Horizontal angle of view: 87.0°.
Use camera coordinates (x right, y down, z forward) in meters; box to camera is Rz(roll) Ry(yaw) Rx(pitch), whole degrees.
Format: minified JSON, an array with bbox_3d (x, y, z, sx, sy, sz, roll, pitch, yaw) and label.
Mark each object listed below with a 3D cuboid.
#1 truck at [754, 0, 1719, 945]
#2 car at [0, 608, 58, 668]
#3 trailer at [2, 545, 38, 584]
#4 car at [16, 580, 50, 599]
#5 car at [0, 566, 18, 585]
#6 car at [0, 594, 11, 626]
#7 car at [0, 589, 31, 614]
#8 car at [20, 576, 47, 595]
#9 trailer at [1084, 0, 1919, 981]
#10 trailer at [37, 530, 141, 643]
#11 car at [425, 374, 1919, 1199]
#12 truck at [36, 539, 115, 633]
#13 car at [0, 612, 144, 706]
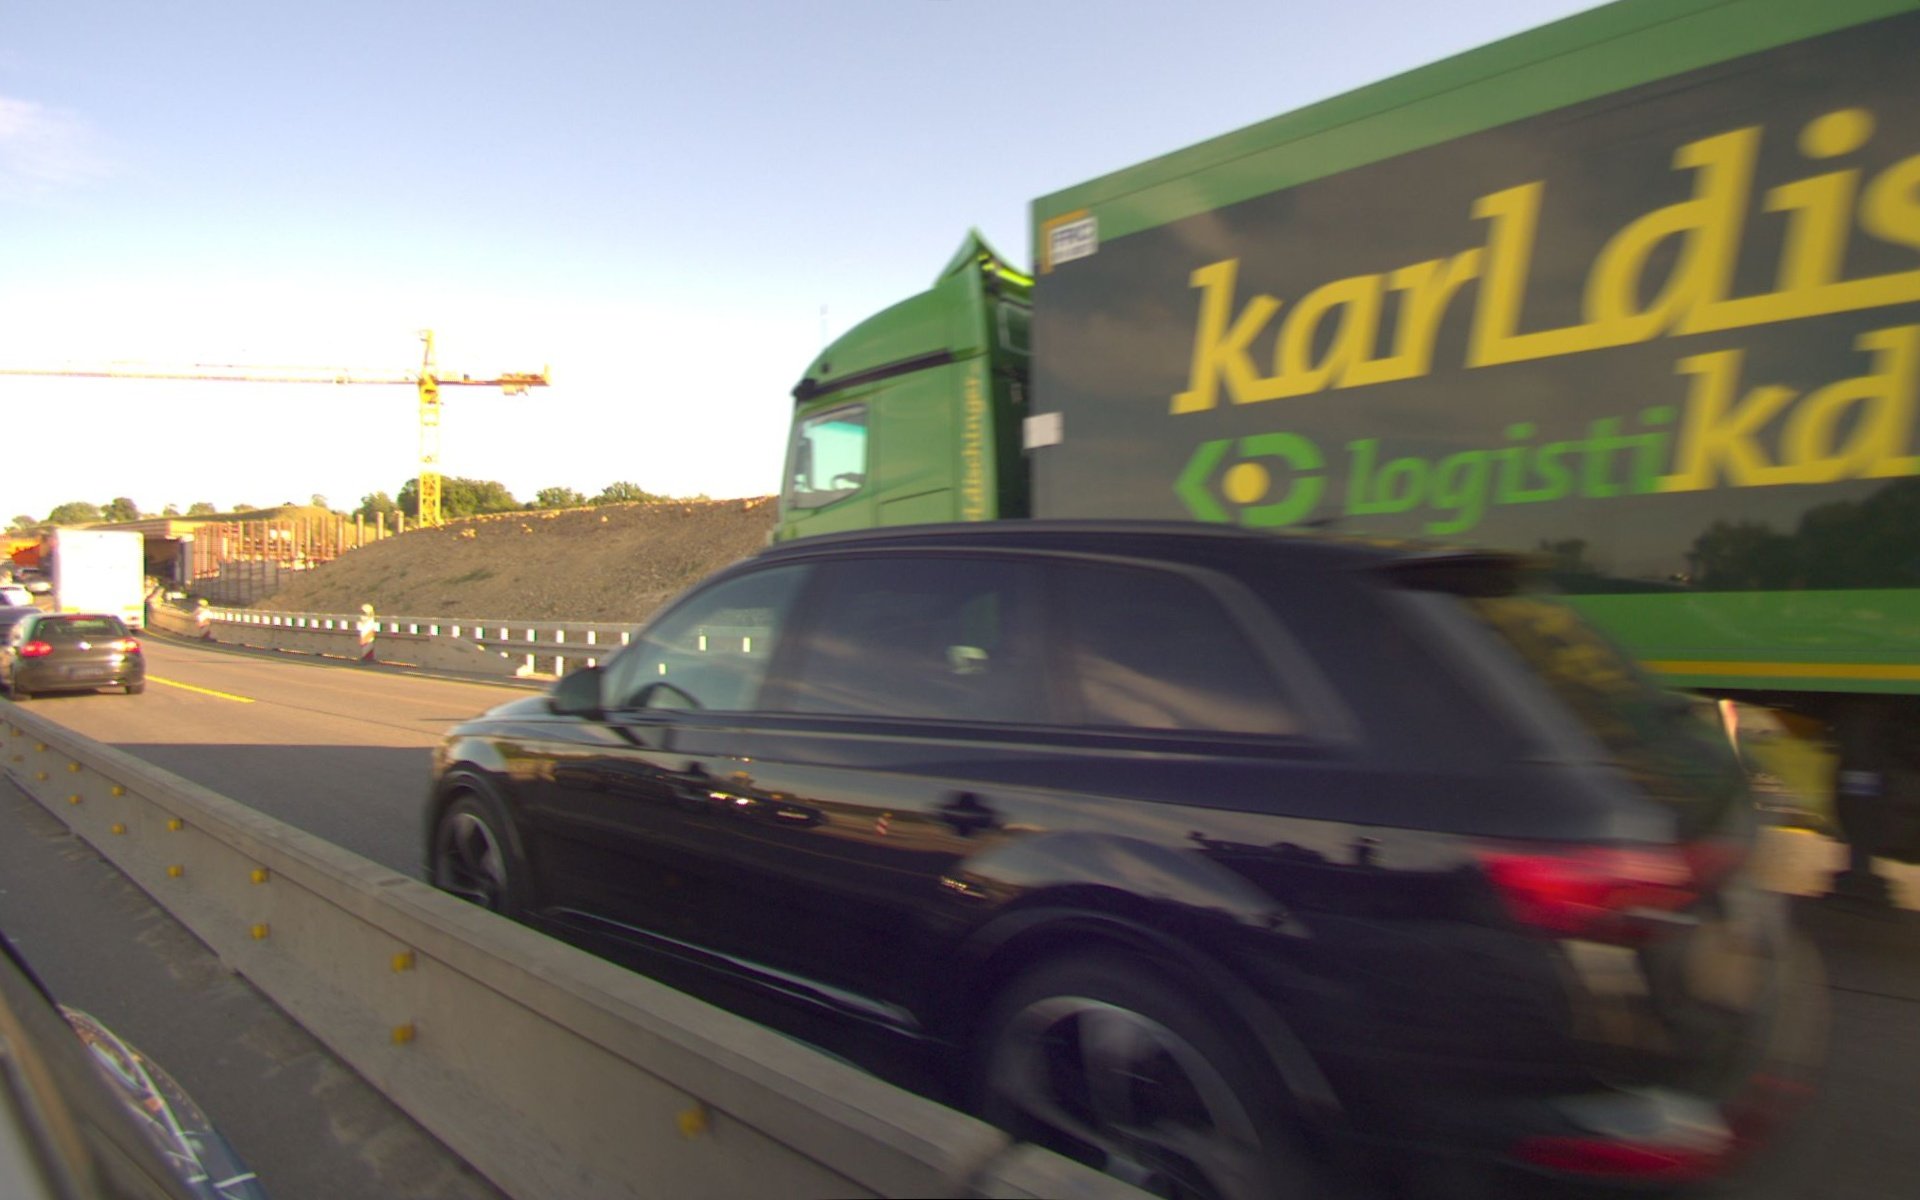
[{"bbox_3d":[1.497,-0.651,7.000,5.773,4.112,2.741,-1,0,41],"label":"truck"},{"bbox_3d":[-24.939,0.940,26.239,4.493,1.420,1.817,0,0,41],"label":"car"},{"bbox_3d":[-113.442,-4.362,122.022,14.144,4.504,2.555,3,3,45],"label":"trailer"},{"bbox_3d":[-71.277,-0.809,77.841,1.767,1.367,4.642,-1,2,-41],"label":"car"},{"bbox_3d":[-103.429,-2.671,109.376,1.968,2.028,5.266,-1,3,-40],"label":"car"},{"bbox_3d":[-47.793,0.486,49.589,1.828,1.494,4.515,1,0,-44],"label":"car"},{"bbox_3d":[-57.999,0.073,61.771,1.768,1.499,4.223,0,1,-44],"label":"car"},{"bbox_3d":[-87.356,-1.400,95.470,1.767,1.631,4.881,-1,2,-41],"label":"car"},{"bbox_3d":[6.827,-0.769,2.404,13.672,4.061,2.745,-1,0,40],"label":"trailer"},{"bbox_3d":[-38.067,-0.623,43.981,2.502,4.245,13.945,-2,2,-44],"label":"trailer"},{"bbox_3d":[0.174,0.548,3.252,4.493,1.621,1.892,0,0,41],"label":"car"},{"bbox_3d":[-42.699,-0.719,48.805,2.523,4.252,6.055,-2,2,-44],"label":"truck"},{"bbox_3d":[-15.908,0.939,17.830,4.325,1.420,1.697,0,0,41],"label":"car"}]
